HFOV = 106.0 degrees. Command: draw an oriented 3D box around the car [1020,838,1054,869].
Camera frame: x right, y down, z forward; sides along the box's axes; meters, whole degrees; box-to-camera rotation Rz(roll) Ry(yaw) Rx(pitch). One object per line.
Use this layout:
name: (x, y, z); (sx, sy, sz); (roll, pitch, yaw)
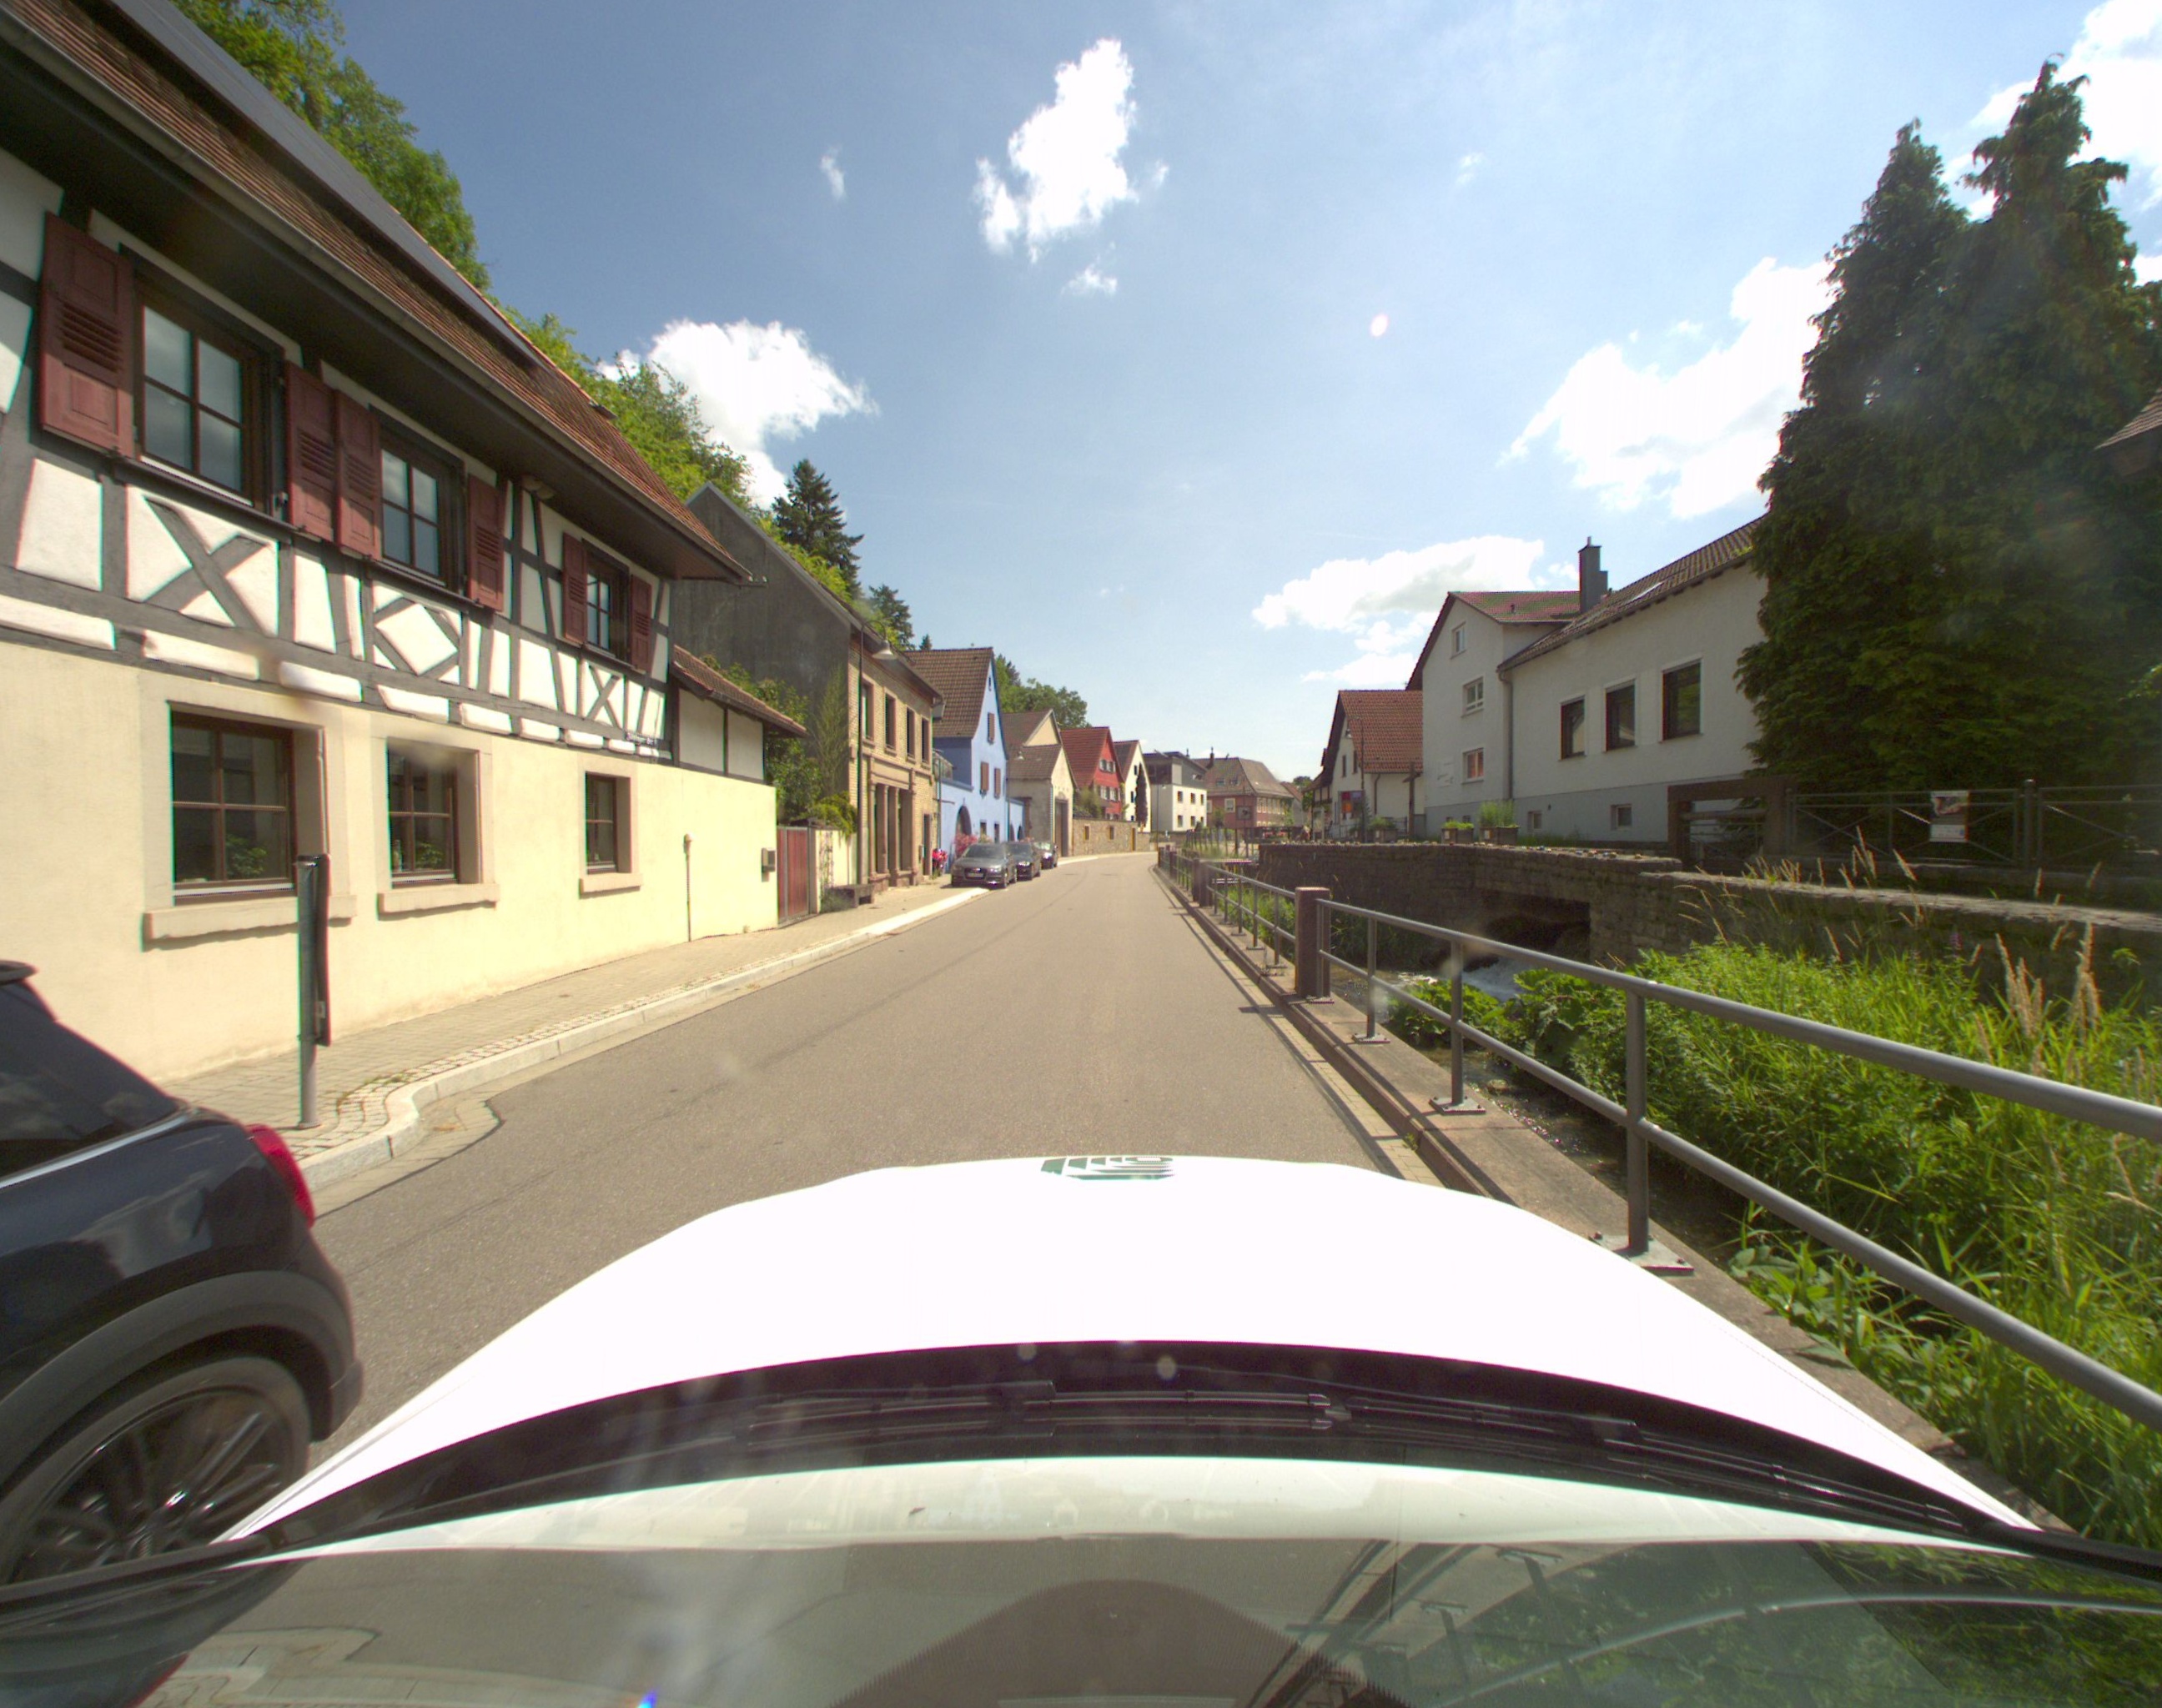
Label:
car: (-2.323, -0.043, 43.350); (1.713, 1.530, 3.853); (-1, 1, -3)

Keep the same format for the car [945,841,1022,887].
car: (-3.284, 0.302, 28.241); (1.949, 1.465, 4.548); (0, 0, 2)

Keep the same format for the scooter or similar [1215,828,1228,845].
scooter or similar: (9.825, -1.242, 56.955); (0.638, 1.142, 1.813); (-1, 1, 4)

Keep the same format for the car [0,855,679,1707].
car: (-2.483, 0.737, 0.812); (1.691, 1.465, 4.439); (1, -1, 4)

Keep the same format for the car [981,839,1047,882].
car: (-2.628, 0.193, 33.060); (1.876, 1.463, 4.675); (3, 2, 4)

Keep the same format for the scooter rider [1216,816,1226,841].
scooter rider: (9.819, -1.783, 57.091); (0.638, 1.731, 0.555); (1, 0, 3)

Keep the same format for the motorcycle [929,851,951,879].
motorcycle: (-5.451, 0.406, 31.544); (0.416, 1.001, 1.859); (4, 1, 1)
